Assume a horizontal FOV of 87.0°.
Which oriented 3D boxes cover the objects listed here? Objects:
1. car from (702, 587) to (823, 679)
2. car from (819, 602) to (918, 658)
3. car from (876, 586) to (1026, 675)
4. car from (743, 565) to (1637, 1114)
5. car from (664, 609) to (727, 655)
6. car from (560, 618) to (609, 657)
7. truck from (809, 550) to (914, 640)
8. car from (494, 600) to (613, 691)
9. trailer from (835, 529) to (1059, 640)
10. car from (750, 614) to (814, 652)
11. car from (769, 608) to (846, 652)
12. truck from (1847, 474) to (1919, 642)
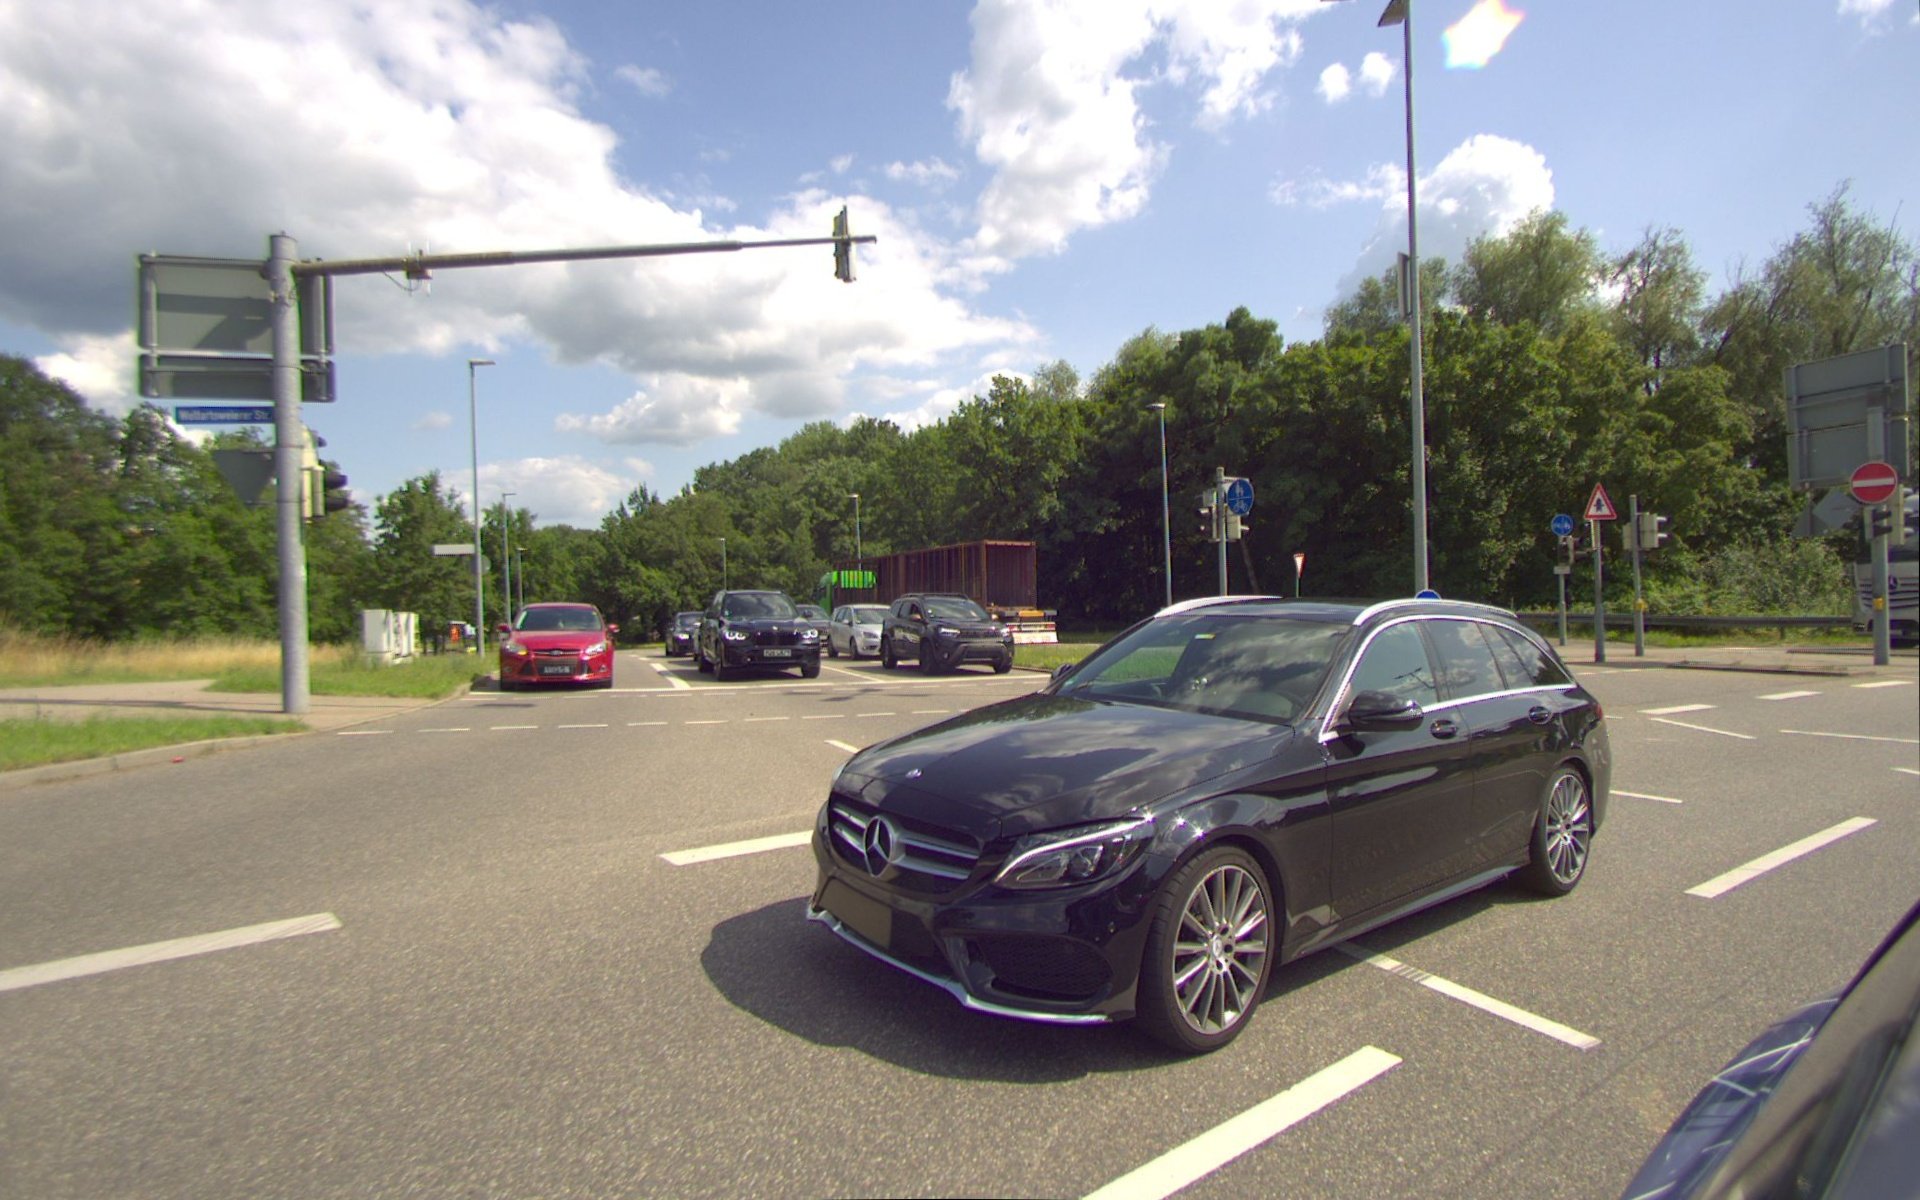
[{"bbox_3d":[-4.104,0.613,20.524,1.799,1.667,4.224,0,-1,-20],"label":"car"},{"bbox_3d":[-2.581,0.768,27.607,1.611,1.393,4.551,0,-1,-20],"label":"car"},{"bbox_3d":[-0.314,0.590,21.378,1.806,1.637,4.303,-2,0,-20],"label":"car"},{"bbox_3d":[1.354,0.648,4.732,4.289,1.454,1.795,1,0,-38],"label":"car"},{"bbox_3d":[-8.795,1.015,33.415,1.665,1.393,4.224,0,-1,-20],"label":"car"},{"bbox_3d":[-15.894,1.567,42.831,1.828,1.483,4.007,-2,-1,-20],"label":"car"},{"bbox_3d":[-4.745,-0.147,47.908,2.820,3.954,5.883,-1,-2,-28],"label":"truck"},{"bbox_3d":[-7.037,0.726,17.794,1.722,1.393,4.224,0,-1,-20],"label":"car"},{"bbox_3d":[-1.119,-0.357,42.372,2.595,3.941,13.852,0,-1,-32],"label":"trailer"},{"bbox_3d":[-7.066,1.251,39.979,1.841,1.393,4.057,0,-1,-20],"label":"car"},{"bbox_3d":[-5.265,0.986,34.583,1.841,1.393,4.057,0,-1,-20],"label":"car"},{"bbox_3d":[25.633,-1.012,24.109,6.684,3.894,2.780,-1,-1,-4],"label":"truck"}]
